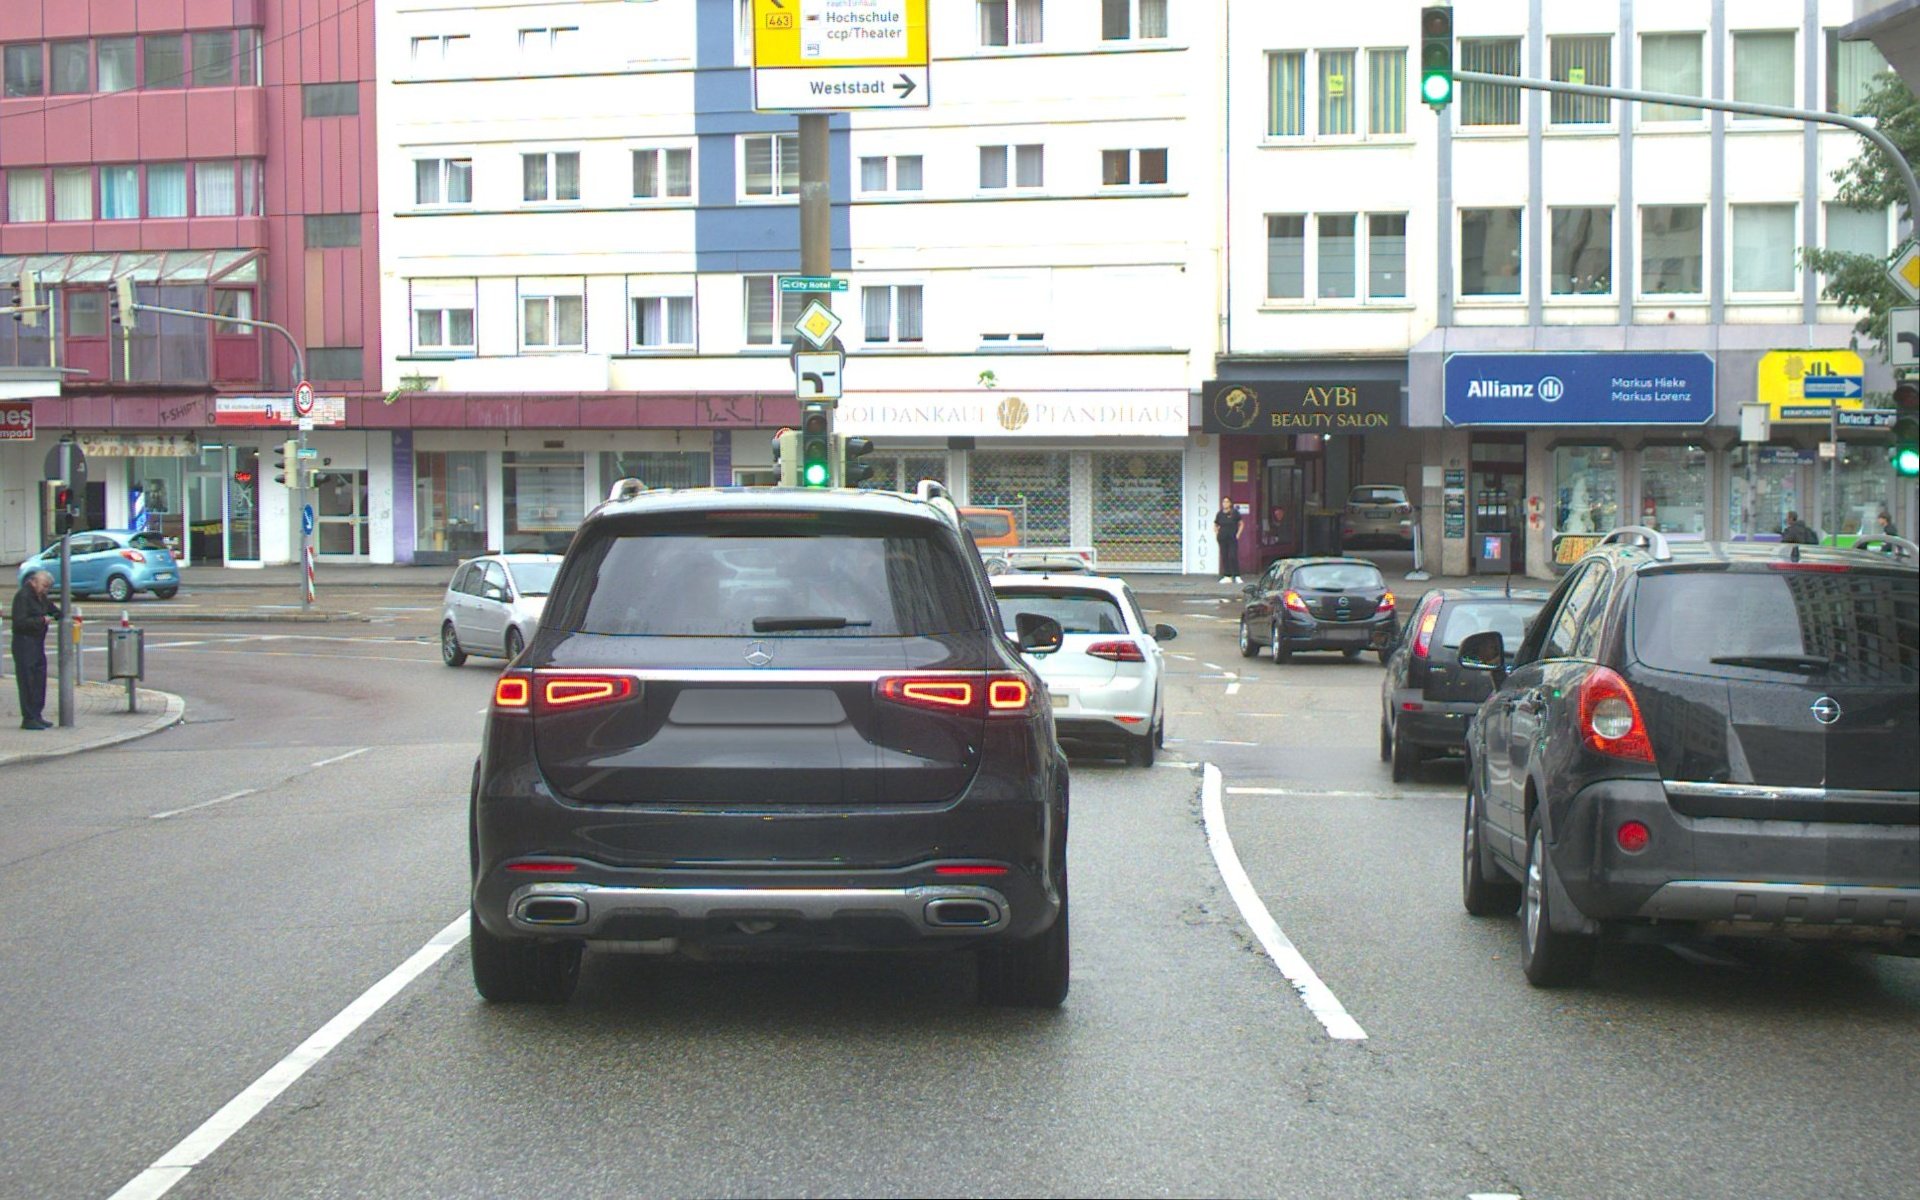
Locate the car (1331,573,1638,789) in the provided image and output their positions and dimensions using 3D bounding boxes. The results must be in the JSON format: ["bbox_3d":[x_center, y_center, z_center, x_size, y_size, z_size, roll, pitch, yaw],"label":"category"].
[{"bbox_3d":[3.923,0.556,26.304,1.767,1.392,4.000,4,1,2],"label":"car"}]

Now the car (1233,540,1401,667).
[{"bbox_3d":[4.986,0.051,48.530,1.823,1.653,4.495,2,0,0],"label":"car"}]

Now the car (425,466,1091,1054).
[{"bbox_3d":[-0.697,0.474,13.111,2.038,1.793,4.663,2,1,-2],"label":"car"}]

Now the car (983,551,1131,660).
[{"bbox_3d":[1.333,0.050,48.933,1.993,1.481,4.237,0,1,0],"label":"car"}]

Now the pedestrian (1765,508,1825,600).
[{"bbox_3d":[16.099,-0.896,66.335,1.030,1.683,0.830,0,7,9],"label":"pedestrian"}]

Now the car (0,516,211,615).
[{"bbox_3d":[-18.061,-0.731,72.039,4.167,1.831,1.997,3,0,23],"label":"car"}]

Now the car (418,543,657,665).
[{"bbox_3d":[-5.963,0.076,48.138,1.735,1.587,4.175,-2,0,-31],"label":"car"}]

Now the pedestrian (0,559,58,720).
[{"bbox_3d":[-9.959,0.415,36.624,0.554,1.691,0.624,0,1,-3],"label":"pedestrian"}]

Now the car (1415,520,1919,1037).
[{"bbox_3d":[3.070,0.605,13.965,1.898,1.689,4.505,3,1,2],"label":"car"}]

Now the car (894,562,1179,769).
[{"bbox_3d":[0.706,0.469,27.940,1.874,1.489,4.399,2,1,7],"label":"car"}]

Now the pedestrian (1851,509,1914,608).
[{"bbox_3d":[17.505,-0.800,65.260,1.030,1.793,0.830,1,7,9],"label":"pedestrian"}]

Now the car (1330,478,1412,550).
[{"bbox_3d":[9.774,-2.015,81.617,1.798,1.664,3.999,0,1,9],"label":"car"}]

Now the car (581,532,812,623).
[{"bbox_3d":[-4.790,-0.422,61.891,1.925,1.510,4.662,3,-1,-36],"label":"car"}]

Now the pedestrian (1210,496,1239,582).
[{"bbox_3d":[5.400,-1.252,70.130,0.564,1.683,0.756,0,7,6],"label":"pedestrian"}]

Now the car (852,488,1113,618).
[{"bbox_3d":[0.346,-0.877,63.098,2.242,2.220,5.429,2,0,-31],"label":"car"}]
